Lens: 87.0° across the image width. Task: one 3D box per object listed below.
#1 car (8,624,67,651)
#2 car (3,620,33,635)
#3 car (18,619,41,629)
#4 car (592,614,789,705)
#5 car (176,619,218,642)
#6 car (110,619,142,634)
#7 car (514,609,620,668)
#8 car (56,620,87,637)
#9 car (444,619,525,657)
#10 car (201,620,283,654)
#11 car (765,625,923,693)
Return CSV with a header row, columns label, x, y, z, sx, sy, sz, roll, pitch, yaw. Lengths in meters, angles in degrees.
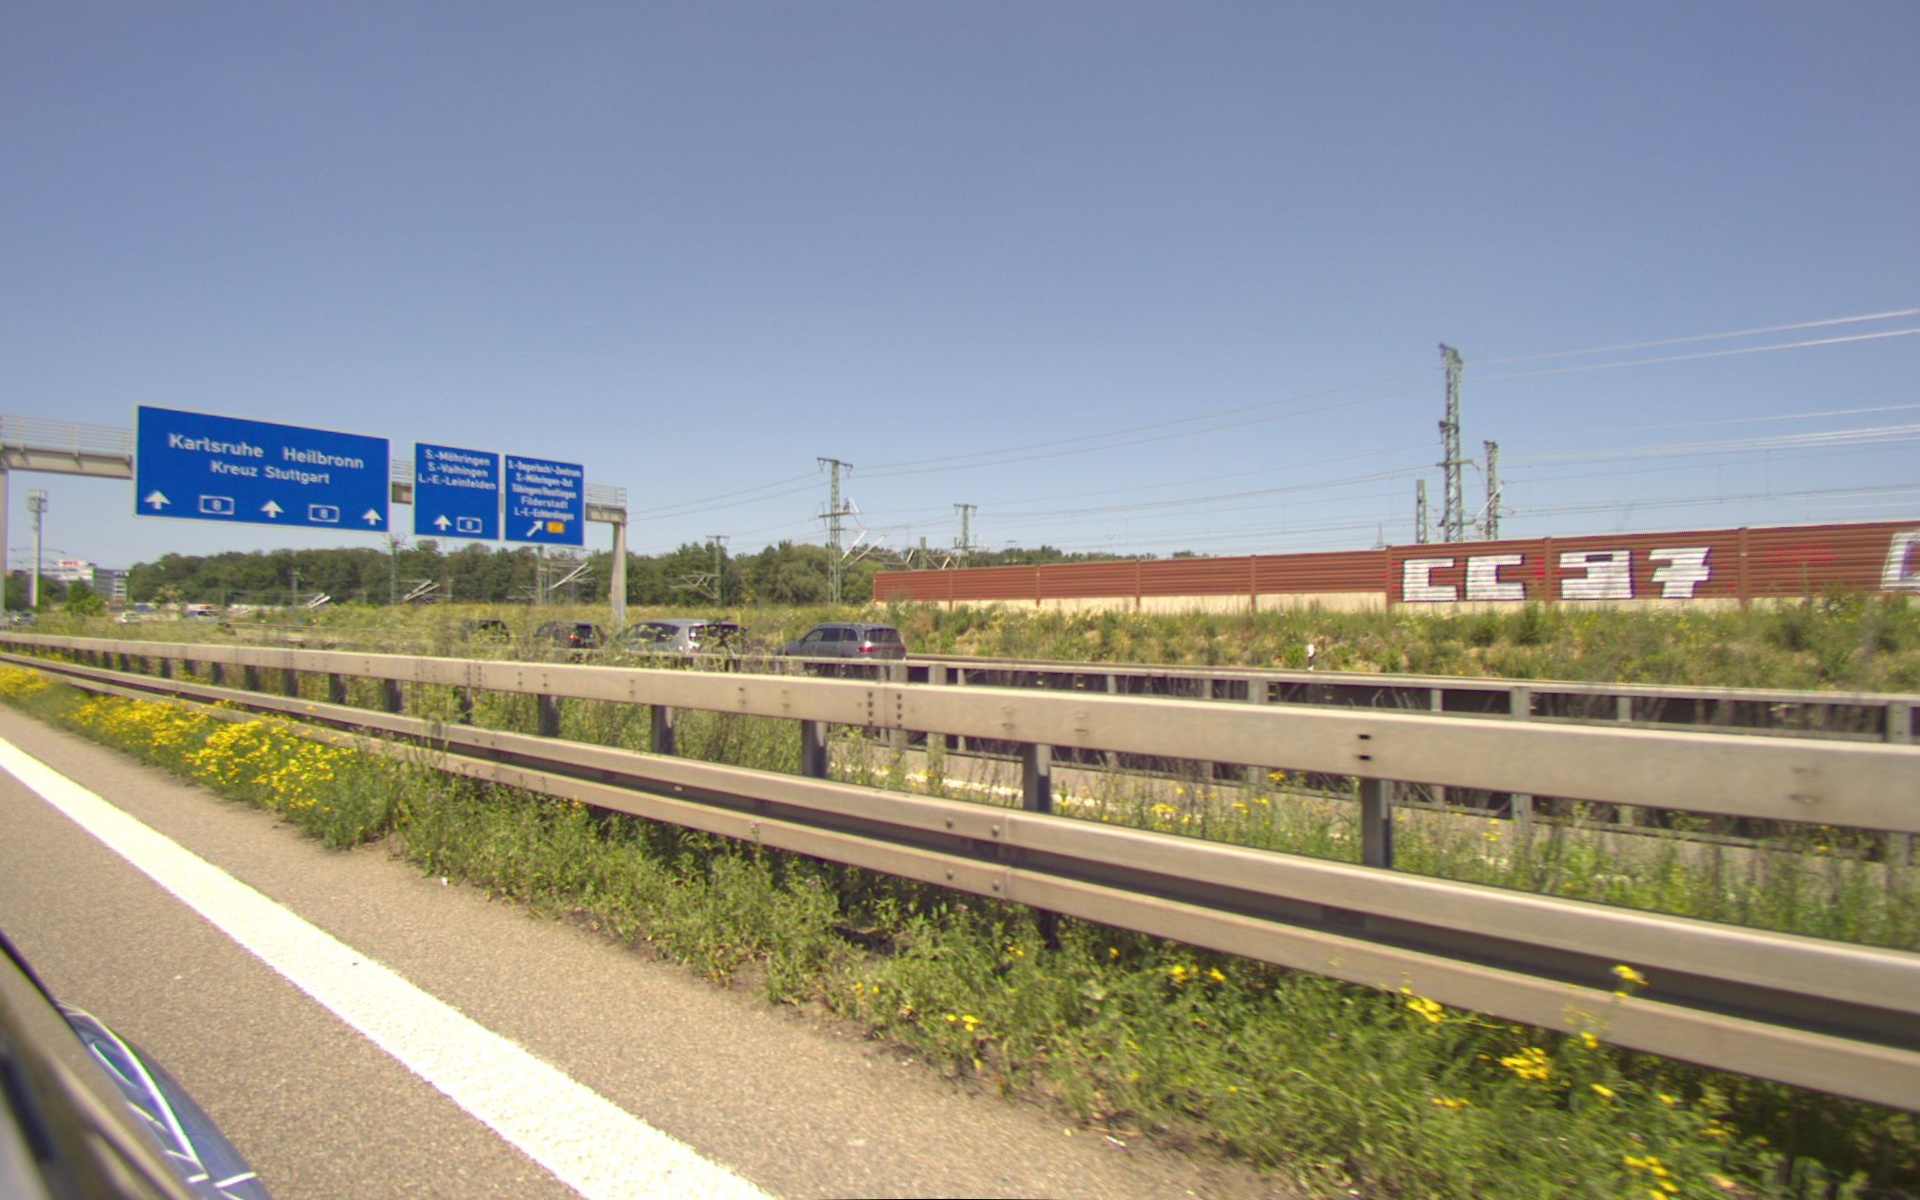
label,x,y,z,sx,sy,sz,roll,pitch,yaw
car,-50.087,2.017,54.925,4.268,1.405,1.848,-1,-1,41
car,-104.570,3.055,112.339,4.475,1.588,1.973,-1,-1,41
car,-134.229,3.452,145.985,4.160,1.321,1.973,-1,-1,40
car,-5.673,1.172,21.057,4.186,1.708,1.973,-1,-2,41
car,-66.519,2.642,88.187,4.975,1.900,1.972,-1,-1,42
car,-90.178,2.823,109.430,4.475,1.588,1.973,-1,-1,41
car,-14.988,1.400,38.510,4.307,2.029,1.973,0,1,41
car,-90.081,2.864,102.571,4.477,1.588,1.972,-1,-1,43
car,-23.251,1.823,49.439,4.511,1.739,1.972,-1,-1,42
car,-32.161,1.628,45.278,4.507,1.405,1.849,-1,-1,39
car,-3.366,1.613,28.896,4.511,1.739,1.973,-1,-1,41
